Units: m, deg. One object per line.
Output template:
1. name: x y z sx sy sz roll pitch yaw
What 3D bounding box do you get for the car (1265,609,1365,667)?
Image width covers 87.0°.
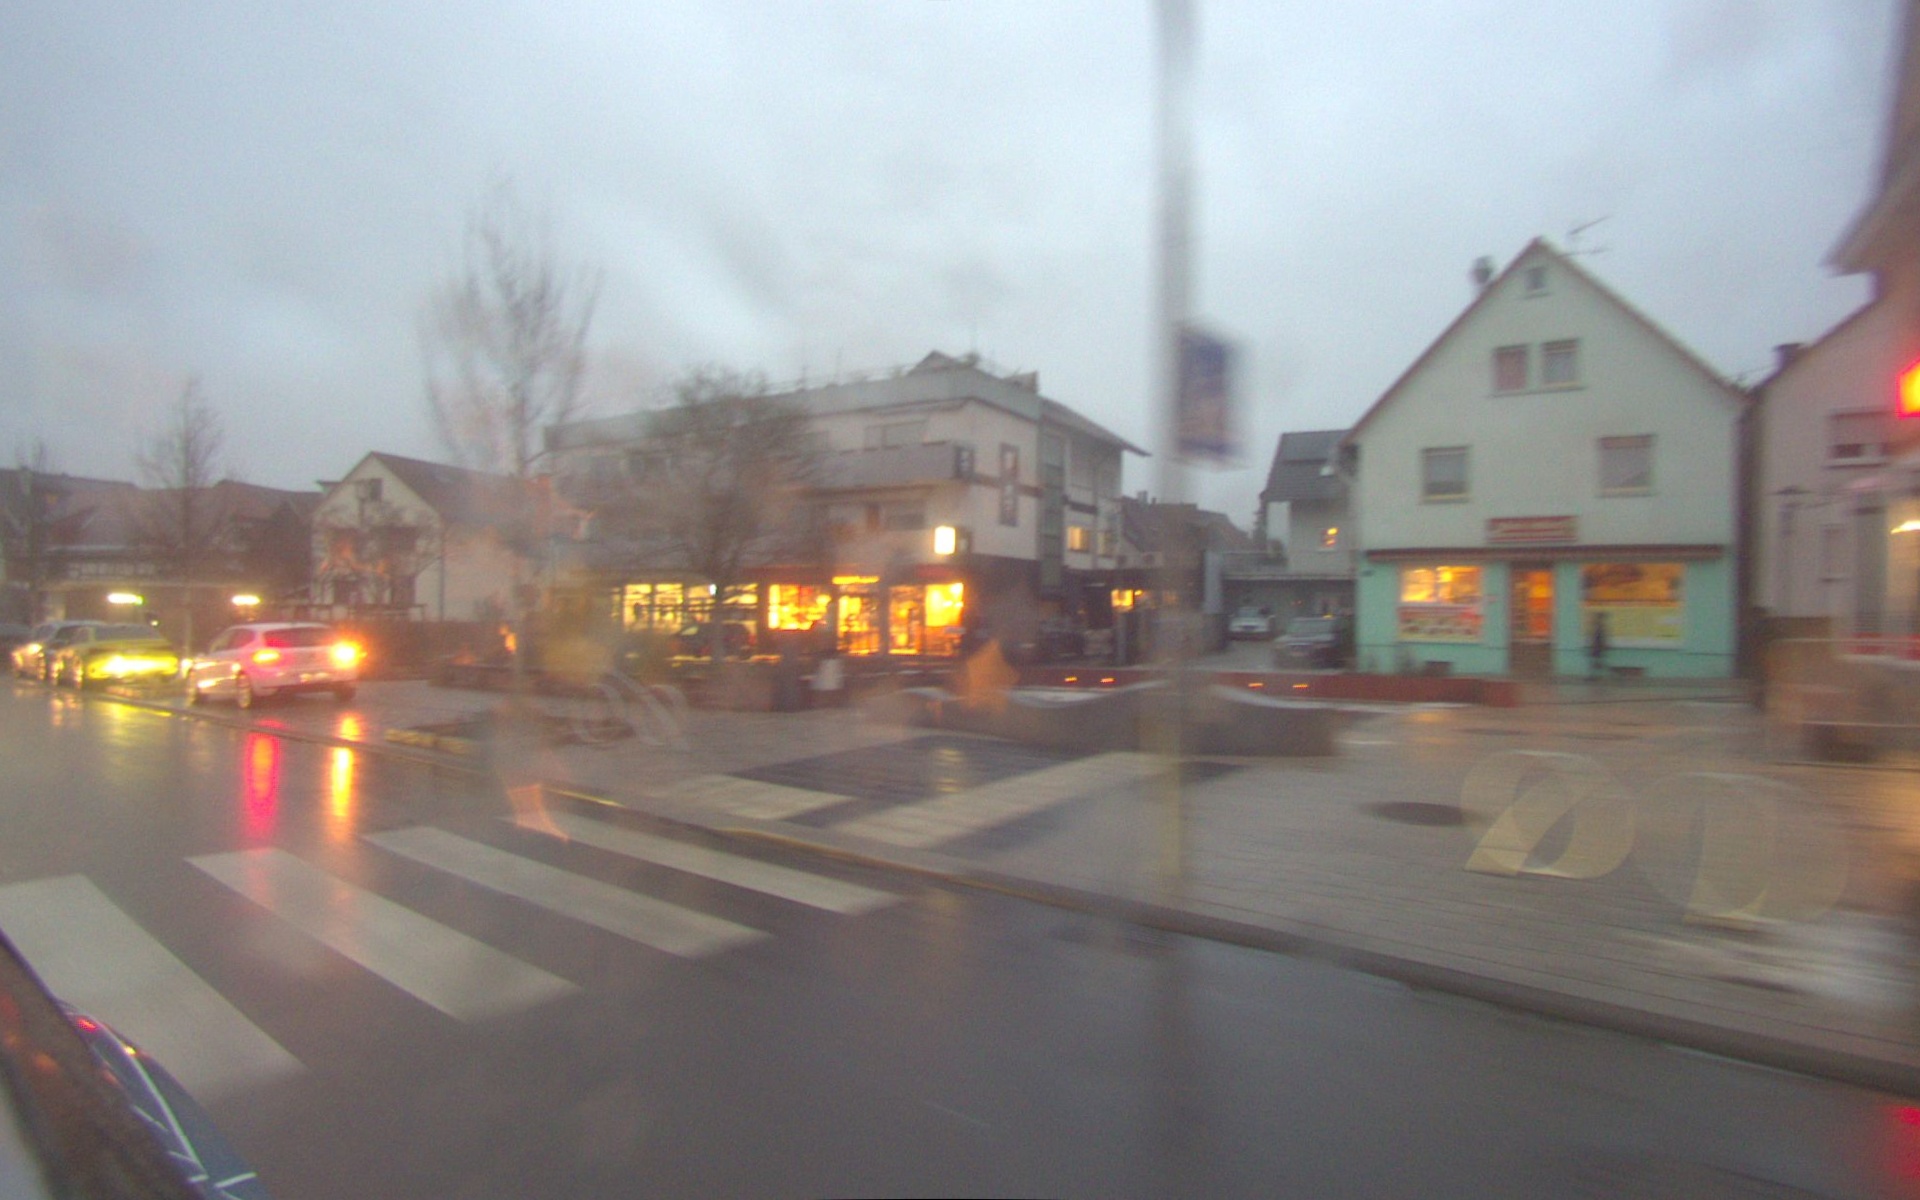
1. car: 10.695 1.088 30.327 1.979 1.615 3.956 -1 -1 32

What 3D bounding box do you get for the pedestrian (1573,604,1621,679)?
1. pedestrian: 15.042 0.984 23.928 0.836 1.729 0.911 -1 -3 27

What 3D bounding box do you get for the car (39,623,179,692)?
1. car: -20.045 1.293 23.783 4.371 1.442 1.678 -1 0 38

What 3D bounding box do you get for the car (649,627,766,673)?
1. car: -9.360 1.817 37.475 3.985 1.576 1.979 -1 -2 31

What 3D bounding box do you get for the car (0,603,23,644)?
1. car: -43.298 1.069 43.777 3.937 1.776 1.436 -1 0 -40

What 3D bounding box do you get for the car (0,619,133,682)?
1. car: -24.133 1.308 27.294 3.662 1.546 1.859 -1 0 34

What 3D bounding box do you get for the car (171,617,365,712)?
1. car: -12.712 1.082 18.511 4.177 1.500 1.767 -1 0 38

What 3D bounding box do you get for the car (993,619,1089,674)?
1. car: 2.958 1.630 36.157 1.991 1.858 3.961 -1 -2 28

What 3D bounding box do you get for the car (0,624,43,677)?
1. car: -30.331 1.551 31.622 4.133 1.546 1.818 -1 0 38

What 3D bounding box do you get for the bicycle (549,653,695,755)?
1. bicycle: -3.761 1.150 11.231 1.734 1.070 0.322 -2 -7 24

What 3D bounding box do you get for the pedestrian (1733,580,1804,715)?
1. pedestrian: 12.561 0.708 15.718 0.814 2.029 0.737 -1 0 -44

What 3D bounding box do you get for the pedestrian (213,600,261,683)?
1. pedestrian: -18.285 1.037 25.598 0.889 2.029 0.791 0 -2 -43
